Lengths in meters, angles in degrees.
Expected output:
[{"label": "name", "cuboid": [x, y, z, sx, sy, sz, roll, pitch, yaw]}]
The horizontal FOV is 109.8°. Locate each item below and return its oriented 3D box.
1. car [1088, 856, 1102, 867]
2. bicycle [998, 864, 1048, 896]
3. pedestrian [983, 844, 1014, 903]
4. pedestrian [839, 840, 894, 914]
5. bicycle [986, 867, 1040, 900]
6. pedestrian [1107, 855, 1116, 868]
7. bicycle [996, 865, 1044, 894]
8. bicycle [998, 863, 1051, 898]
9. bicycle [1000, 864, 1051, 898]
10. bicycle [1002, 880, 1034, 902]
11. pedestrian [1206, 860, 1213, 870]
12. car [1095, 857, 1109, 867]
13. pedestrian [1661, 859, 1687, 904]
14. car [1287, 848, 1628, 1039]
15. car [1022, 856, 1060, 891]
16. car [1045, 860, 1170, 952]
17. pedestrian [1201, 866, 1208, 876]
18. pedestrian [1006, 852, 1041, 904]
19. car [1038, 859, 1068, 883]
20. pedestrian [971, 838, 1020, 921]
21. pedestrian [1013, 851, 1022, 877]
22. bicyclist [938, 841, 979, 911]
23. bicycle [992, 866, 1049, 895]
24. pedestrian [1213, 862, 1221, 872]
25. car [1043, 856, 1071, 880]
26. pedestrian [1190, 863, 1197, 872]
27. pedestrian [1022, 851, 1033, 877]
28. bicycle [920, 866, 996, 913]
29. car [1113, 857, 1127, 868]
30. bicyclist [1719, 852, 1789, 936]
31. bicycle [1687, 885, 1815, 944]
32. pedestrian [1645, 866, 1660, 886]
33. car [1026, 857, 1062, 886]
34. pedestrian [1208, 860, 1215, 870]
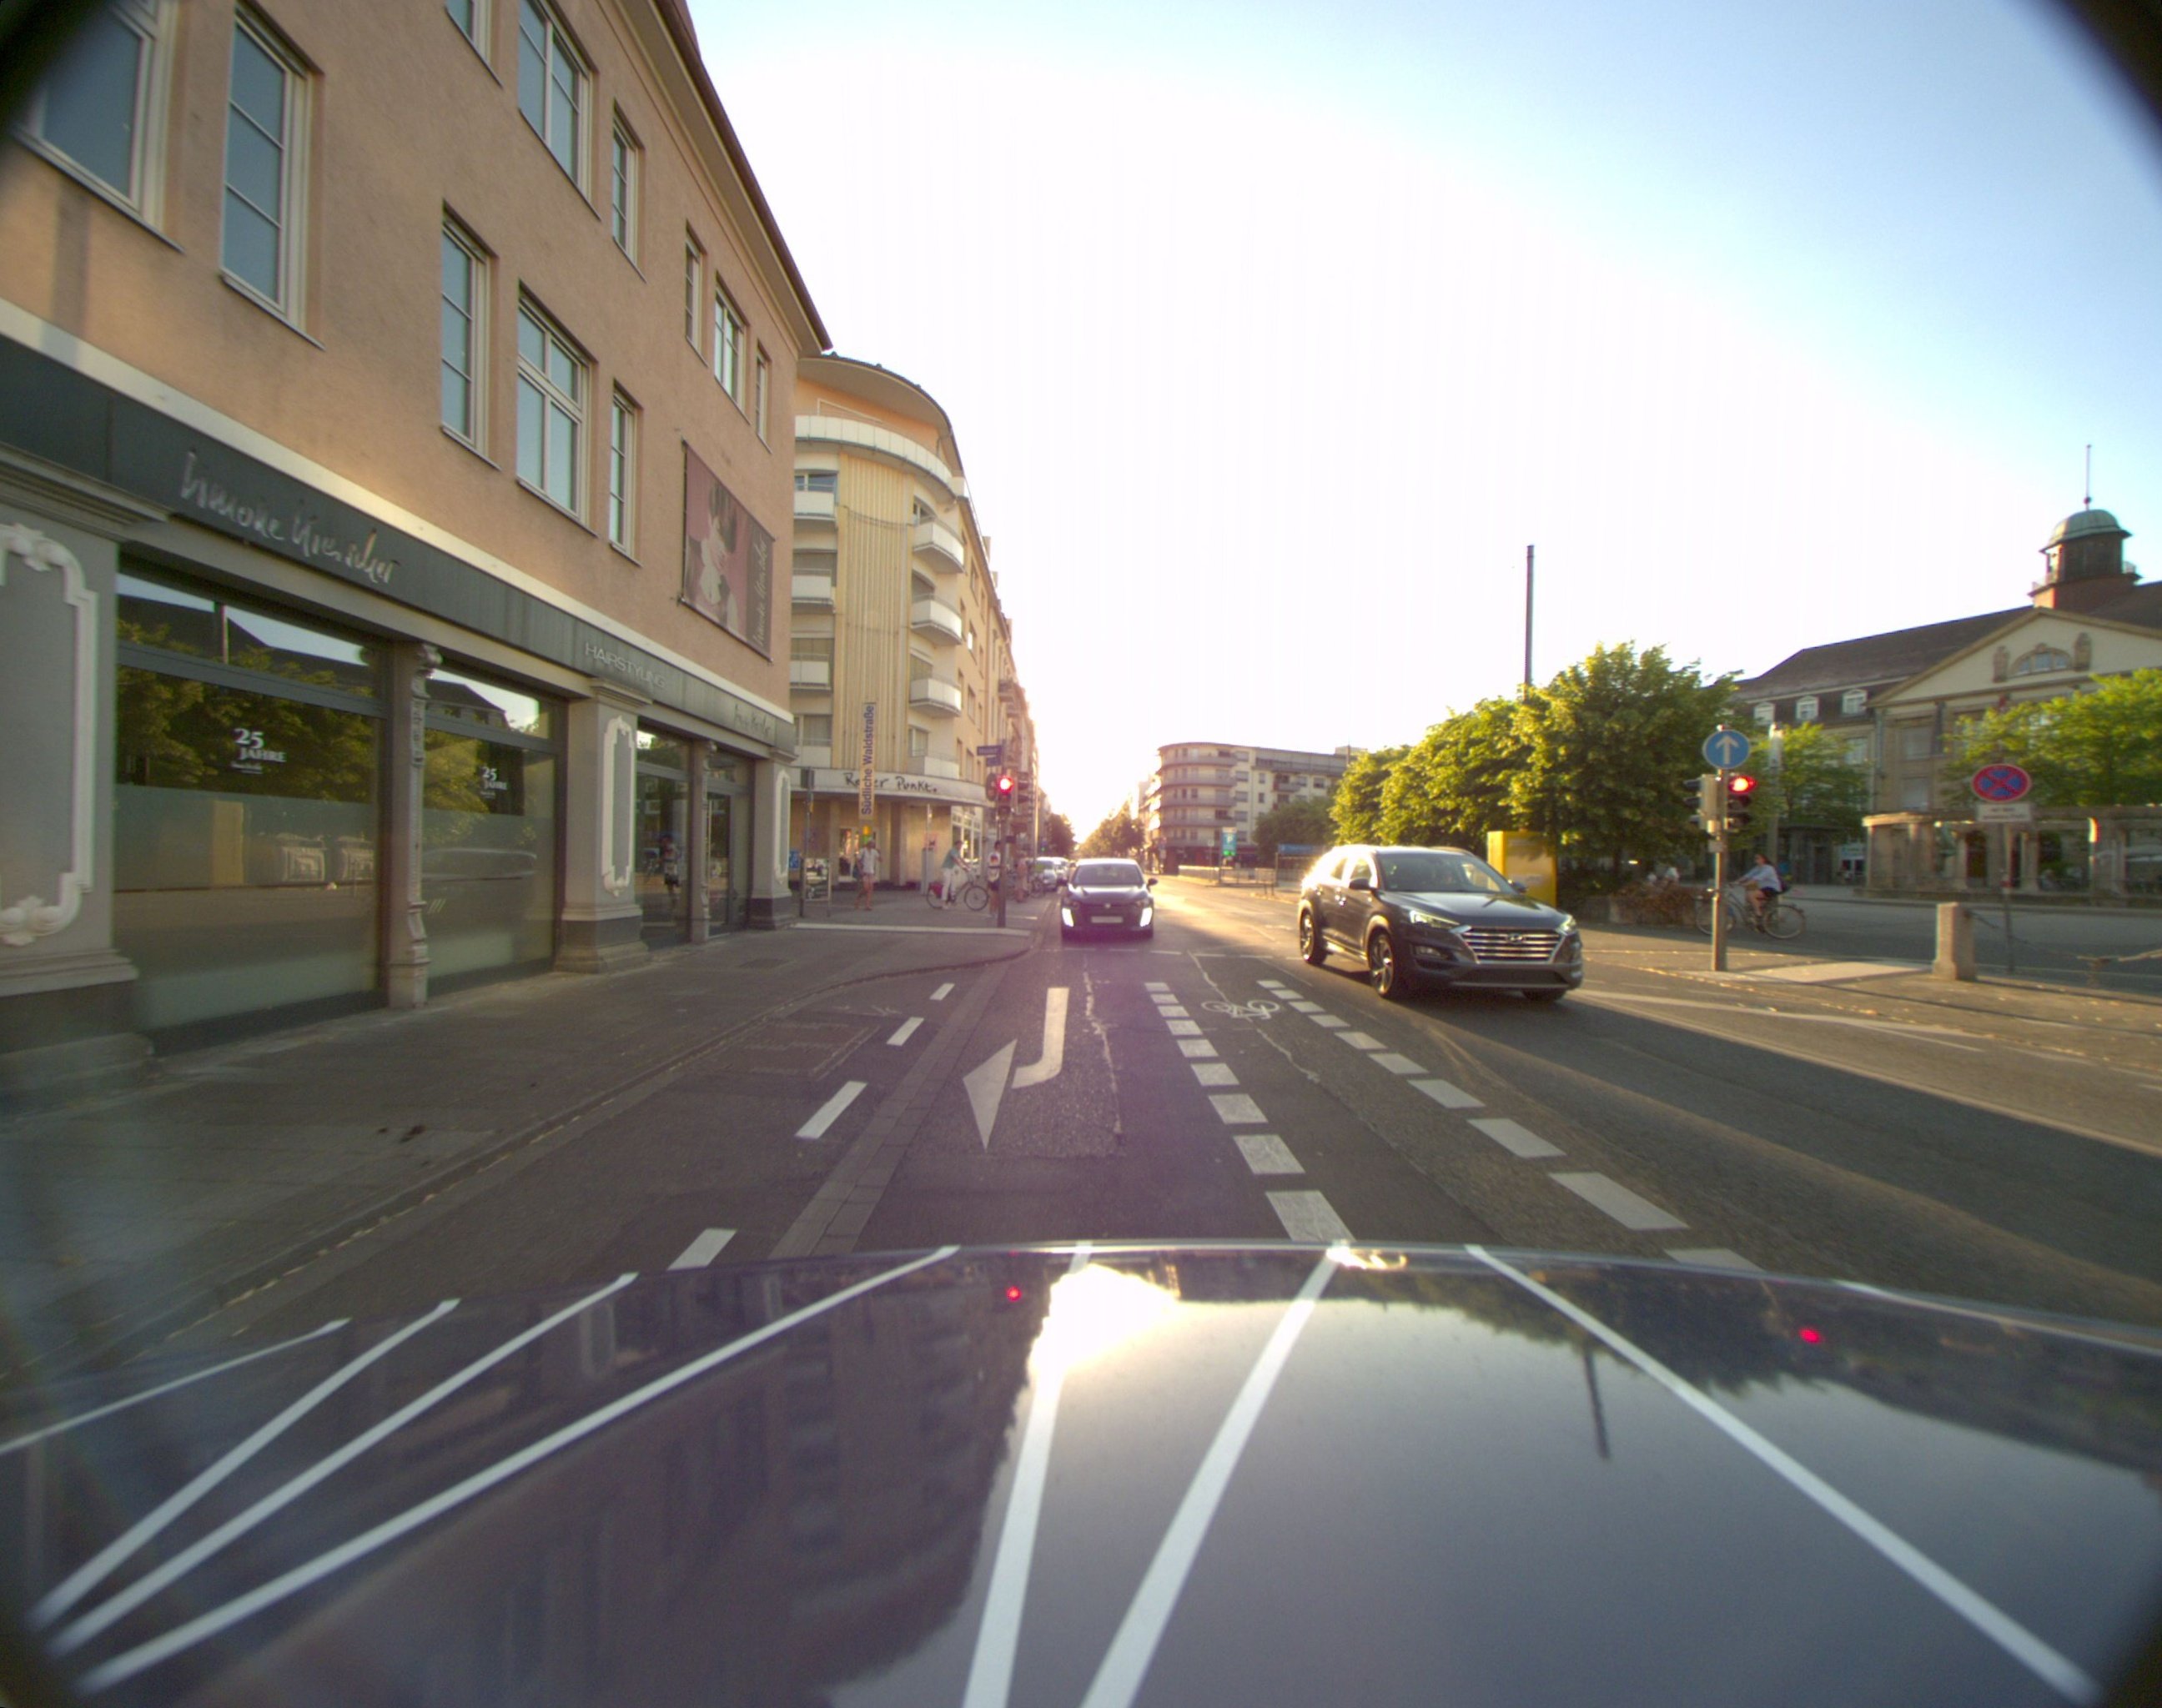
[{"label": "car", "cuboid": [2.306, 1.289, 129.019, 1.878, 1.621, 4.177, 3, -1, -6]}, {"label": "bicycle", "cuboid": [-2.206, 0.989, 28.984, 1.788, 1.166, 0.621, 2, 0, -12]}, {"label": "pedestrian", "cuboid": [-2.560, 0.594, 23.598, 0.826, 1.806, 0.870, 1, 0, -13]}, {"label": "pedestrian", "cuboid": [-5.299, 0.550, 18.775, 1.097, 1.764, 0.828, 1, 0, 41]}, {"label": "bicycle", "cuboid": [-2.389, 1.027, 26.667, 1.788, 1.057, 0.718, 2, 0, -12]}, {"label": "pedestrian", "cuboid": [3.440, 0.818, 85.981, 0.678, 1.508, 0.676, 1, 0, -43]}, {"label": "bicycle", "cuboid": [-2.489, 1.026, 30.934, 1.851, 1.117, 0.594, 2, 1, -12]}, {"label": "bicycle", "cuboid": [-2.062, 0.952, 27.606, 1.849, 1.232, 0.639, 1, 0, -6]}, {"label": "bicycle", "cuboid": [-2.068, 1.001, 28.353, 1.788, 1.166, 0.621, 2, 0, -12]}, {"label": "bicycle", "cuboid": [-2.154, 1.254, 25.985, 1.008, 0.677, 1.049, 1, 0, -10]}, {"label": "pedestrian", "cuboid": [17.513, 1.505, 103.605, 0.732, 1.314, 0.888, 1, 0, -3]}, {"label": "car", "cuboid": [3.187, 1.249, 116.234, 1.790, 1.458, 3.956, 2, 0, -2]}, {"label": "pedestrian", "cuboid": [22.019, 1.003, 28.234, 0.703, 1.611, 0.842, 0, 1, 34]}, {"label": "car", "cuboid": [4.030, 0.836, 9.140, 1.877, 1.679, 4.450, 2, 0, 1]}, {"label": "car", "cuboid": [-1.934, 0.918, 37.272, 1.702, 1.607, 4.682, 1, 0, -2]}, {"label": "car", "cuboid": [0.675, 0.858, 14.609, 1.907, 1.438, 4.453, 1, 0, 8]}, {"label": "pedestrian", "cuboid": [16.823, 2.315, 103.377, 0.732, 1.314, 0.889, 1, 0, -1]}, {"label": "pedestrian", "cuboid": [-1.872, 0.760, 24.614, 0.789, 1.643, 0.782, 2, 0, 43]}, {"label": "car", "cuboid": [-1.765, 1.067, 49.172, 1.738, 1.448, 4.610, 1, 0, 0]}, {"label": "pedestrian", "cuboid": [-2.020, 0.595, 17.936, 0.942, 1.886, 0.824, 1, 0, -22]}, {"label": "pedestrian", "cuboid": [-4.994, 0.790, 59.711, 0.673, 2.002, 0.851, 0, 0, 0]}, {"label": "bicyclist", "cuboid": [-3.255, 0.567, 20.219, 0.835, 1.815, 0.831, 1, 0, 7]}, {"label": "bicycle", "cuboid": [-2.390, 1.037, 29.936, 2.176, 1.069, 0.805, 2, 0, -7]}, {"label": "pedestrian", "cuboid": [18.574, 1.759, 103.657, 0.733, 1.314, 0.888, 1, 0, -14]}, {"label": "car", "cuboid": [-1.682, 0.994, 54.724, 1.877, 1.664, 4.430, 1, 0, 0]}, {"label": "pedestrian", "cuboid": [15.200, 1.842, 102.400, 0.887, 1.185, 0.733, 1, 0, 9]}, {"label": "pedestrian", "cuboid": [-4.149, 0.788, 58.897, 0.763, 2.002, 0.851, 1, 0, 0]}, {"label": "bicycle", "cuboid": [-3.253, 0.934, 20.214, 1.823, 1.179, 0.794, 1, 0, 9]}, {"label": "car", "cuboid": [6.554, 1.354, 128.642, 1.999, 1.805, 3.999, 1, 0, -2]}, {"label": "bicyclist", "cuboid": [14.277, 0.831, 16.155, 0.777, 1.714, 0.856, 1, 0, 15]}, {"label": "bicycle", "cuboid": [14.210, 1.264, 16.173, 1.917, 1.111, 0.706, 1, 0, 17]}, {"label": "pedestrian", "cuboid": [30.730, 1.186, 40.863, 0.461, 1.057, 0.531, -1, -2, 19]}, {"label": "car", "cuboid": [-2.069, 0.966, 43.548, 1.821, 1.611, 4.203, 1, 0, 0]}, {"label": "pedestrian", "cuboid": [18.016, 1.475, 104.860, 0.689, 1.314, 0.819, 1, 0, -24]}]
